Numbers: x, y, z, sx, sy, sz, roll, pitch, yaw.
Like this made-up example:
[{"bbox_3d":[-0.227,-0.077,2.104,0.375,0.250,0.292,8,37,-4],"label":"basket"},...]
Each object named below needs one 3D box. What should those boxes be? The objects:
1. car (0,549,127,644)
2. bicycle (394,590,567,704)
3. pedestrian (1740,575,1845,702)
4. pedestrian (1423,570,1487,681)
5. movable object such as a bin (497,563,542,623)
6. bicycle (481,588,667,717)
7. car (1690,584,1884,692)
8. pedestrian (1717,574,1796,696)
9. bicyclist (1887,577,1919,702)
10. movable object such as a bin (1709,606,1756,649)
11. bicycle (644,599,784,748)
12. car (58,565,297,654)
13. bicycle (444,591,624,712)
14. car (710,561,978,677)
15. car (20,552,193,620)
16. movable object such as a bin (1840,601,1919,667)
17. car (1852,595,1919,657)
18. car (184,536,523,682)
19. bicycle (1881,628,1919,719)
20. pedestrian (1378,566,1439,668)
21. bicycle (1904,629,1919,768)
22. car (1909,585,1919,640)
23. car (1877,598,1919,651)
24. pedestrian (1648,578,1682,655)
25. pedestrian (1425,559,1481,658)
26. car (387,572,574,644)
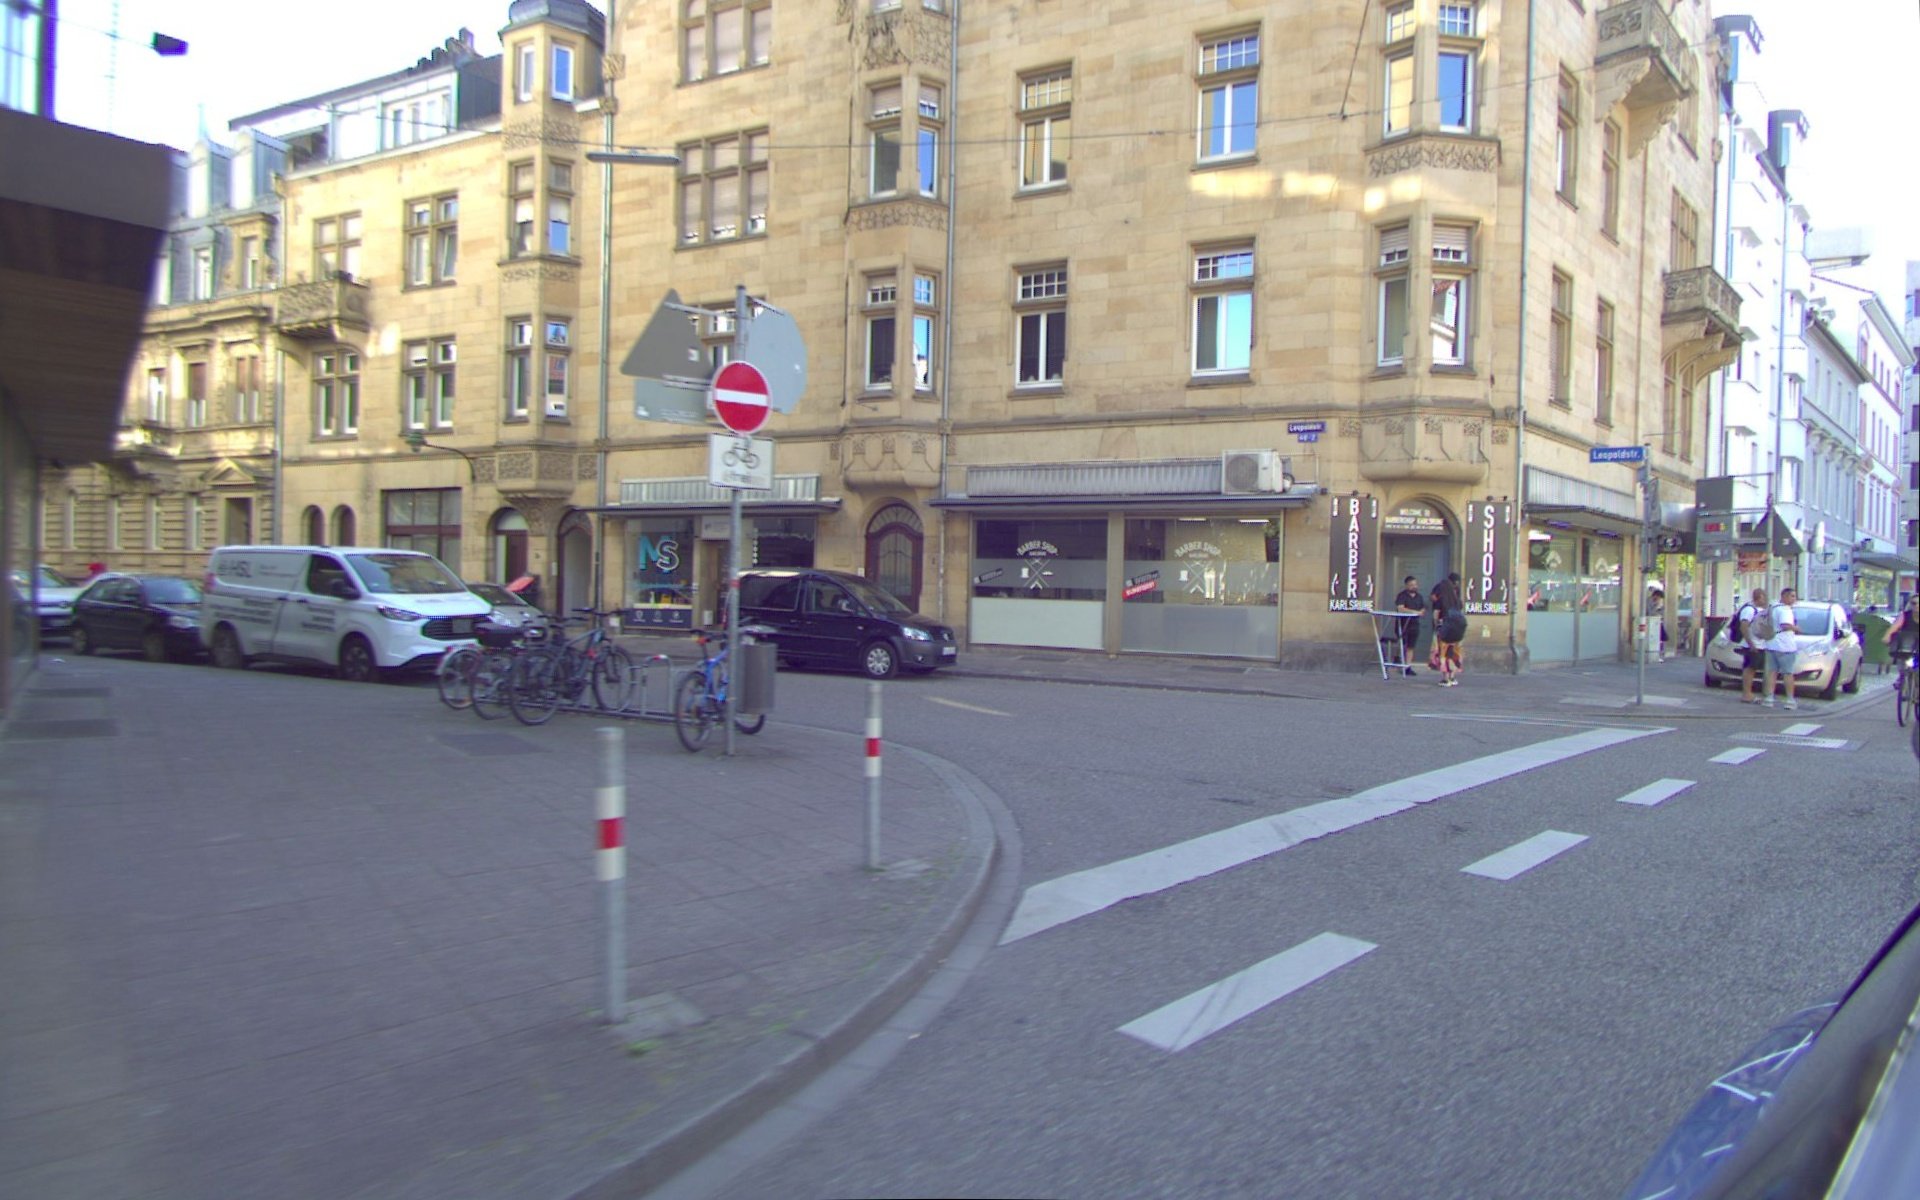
[{"bbox_3d":[-18.814,-0.121,20.016,4.272,1.698,1.983,1,1,25],"label":"car"},{"bbox_3d":[-5.246,0.519,11.196,0.567,1.147,1.731,1,-2,23],"label":"bicycle"},{"bbox_3d":[11.929,0.535,14.510,0.876,1.740,0.697,2,2,-17],"label":"pedestrian"},{"bbox_3d":[7.848,0.388,16.065,0.663,1.712,0.619,1,2,3],"label":"pedestrian"},{"bbox_3d":[-11.003,-0.180,25.293,0.753,1.435,0.678,2,1,26],"label":"movable object such as a bin"},{"bbox_3d":[-3.866,0.527,10.349,0.566,1.176,2.004,2,-2,19],"label":"bicycle"},{"bbox_3d":[14.718,0.592,17.948,4.055,1.593,1.978,0,3,-42],"label":"car"},{"bbox_3d":[11.963,0.500,15.232,0.692,1.740,0.689,4,2,26],"label":"pedestrian"},{"bbox_3d":[12.591,0.508,13.175,0.893,1.591,0.658,1,0,-41],"label":"bicyclist"},{"bbox_3d":[20.734,0.734,27.159,0.650,1.061,0.727,3,2,-31],"label":"movable object such as a bin"},{"bbox_3d":[-2.155,0.596,9.111,0.564,1.176,1.740,2,0,9],"label":"bicycle"},{"bbox_3d":[-13.883,0.106,17.960,3.631,1.429,1.963,1,2,26],"label":"car"},{"bbox_3d":[-4.445,0.538,10.733,0.566,1.147,1.913,2,-2,19],"label":"bicycle"},{"bbox_3d":[-2.030,0.258,17.688,4.272,1.793,1.983,1,1,25],"label":"car"},{"bbox_3d":[-23.234,-0.404,27.545,4.272,1.698,1.983,1,1,25],"label":"car"},{"bbox_3d":[22.416,0.804,24.638,1.385,1.439,1.149,1,4,-38],"label":"movable object such as a bin"},{"bbox_3d":[27.261,0.740,28.996,3.931,1.593,1.998,0,3,-42],"label":"car"},{"bbox_3d":[-9.347,0.055,15.583,4.900,1.953,2.101,1,1,25],"label":"car"},{"bbox_3d":[12.508,0.931,13.104,1.804,1.081,0.666,0,1,-42],"label":"bicycle"},{"bbox_3d":[7.692,0.285,17.382,0.701,1.713,0.621,0,1,-14],"label":"pedestrian"},{"bbox_3d":[9.034,0.865,8.172,1.926,1.173,0.662,1,0,28],"label":"bicycle"},{"bbox_3d":[37.123,0.530,37.873,5.016,1.977,1.996,0,4,-44],"label":"car"},{"bbox_3d":[30.343,0.781,31.643,3.931,1.509,1.998,0,4,-42],"label":"car"},{"bbox_3d":[16.410,0.367,23.562,0.534,1.764,0.588,1,0,44],"label":"pedestrian"},{"bbox_3d":[8.668,0.141,17.810,0.701,1.713,0.500,0,1,-14],"label":"pedestrian"},{"bbox_3d":[-10.297,0.123,21.719,3.631,1.429,1.761,1,2,26],"label":"car"}]
